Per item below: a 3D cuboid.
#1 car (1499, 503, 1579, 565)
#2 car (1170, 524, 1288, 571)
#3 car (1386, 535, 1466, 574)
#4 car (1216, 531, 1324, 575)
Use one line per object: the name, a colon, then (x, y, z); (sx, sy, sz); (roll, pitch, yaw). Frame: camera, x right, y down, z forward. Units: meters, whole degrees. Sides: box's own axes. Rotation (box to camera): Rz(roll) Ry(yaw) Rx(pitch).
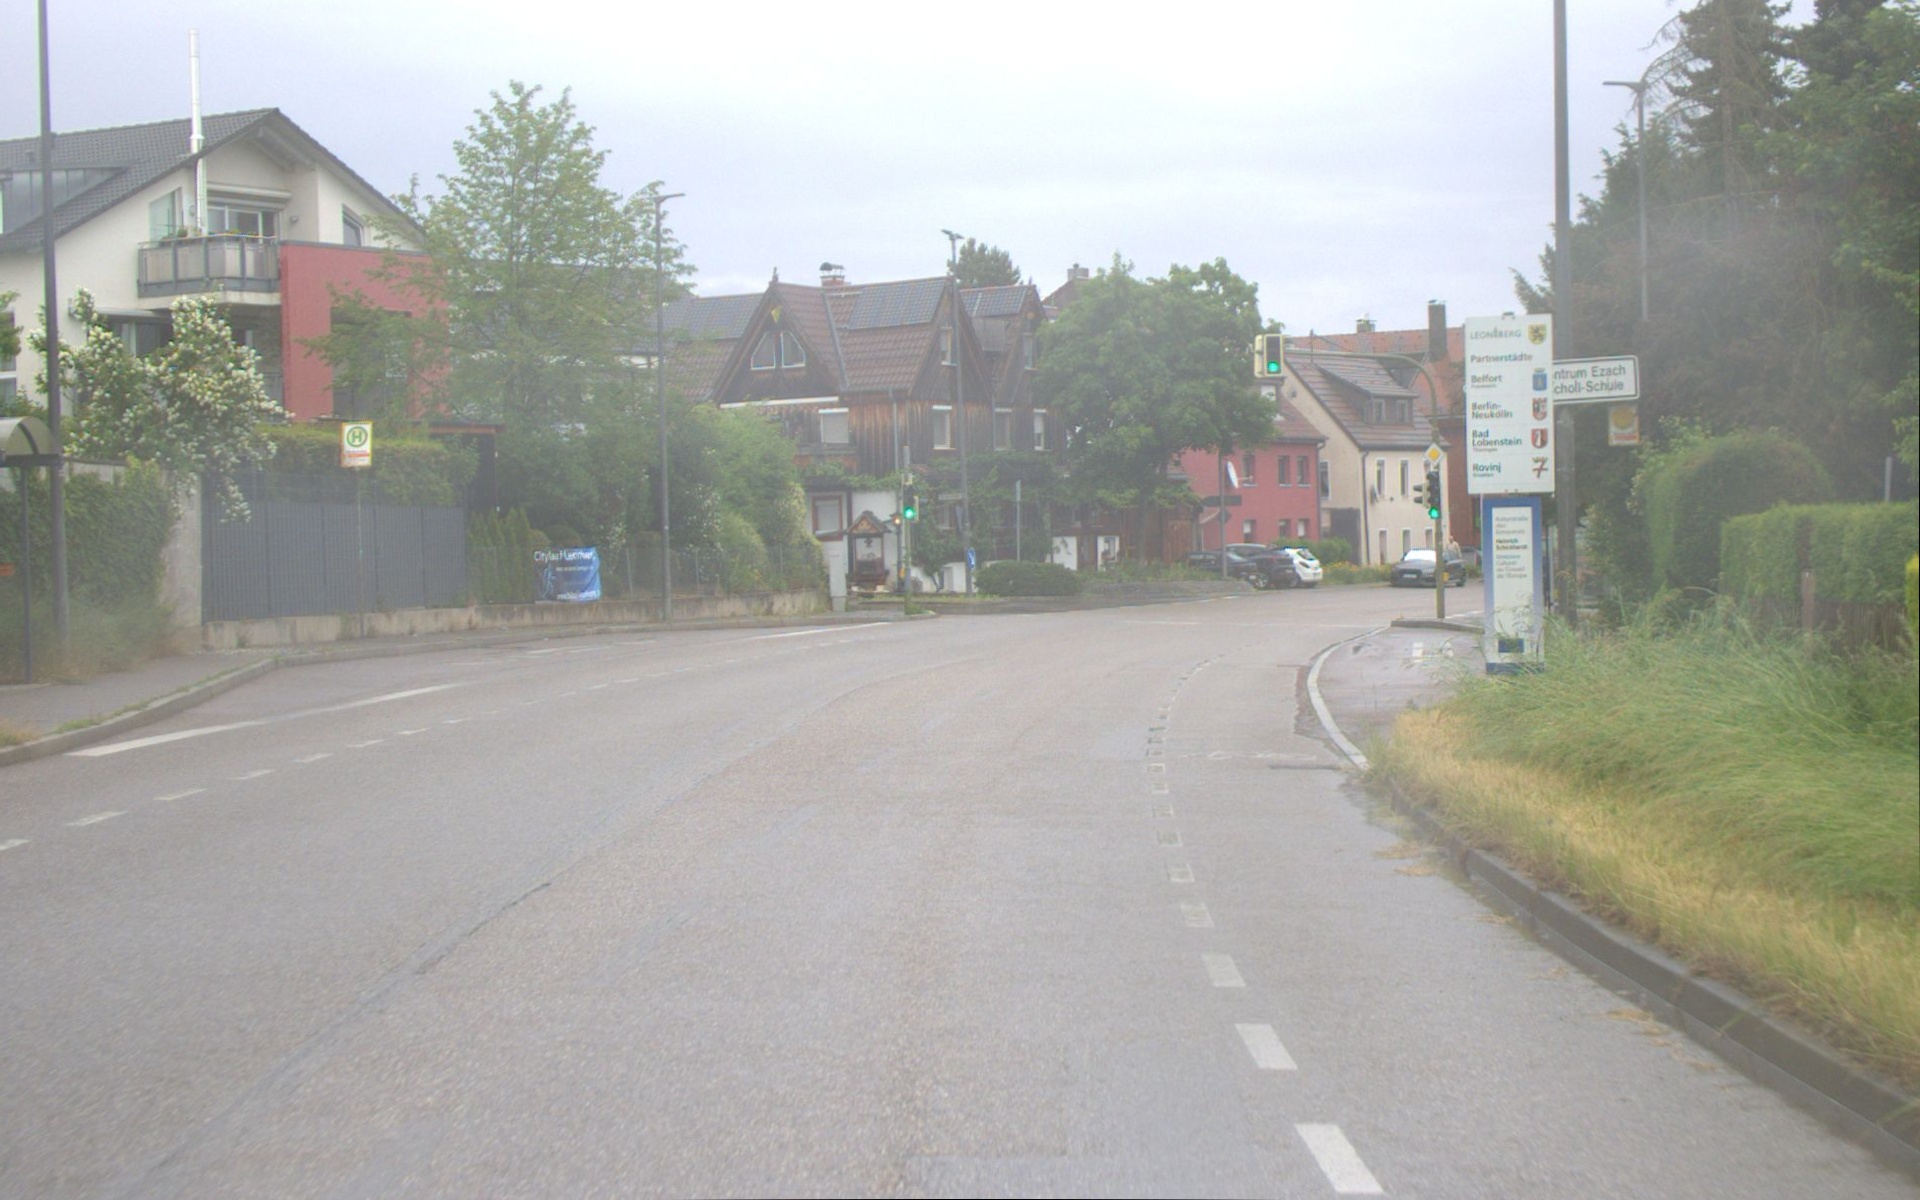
car: (18.386, -2.093, 109.010); (1.932, 1.896, 4.790); (1, 1, 17)
car: (9.256, -1.820, 118.291); (3.582, 1.501, 1.852); (2, 2, 32)
car: (16.920, -1.680, 124.788); (1.629, 1.351, 4.105); (1, 2, 26)
car: (10.996, -1.666, 122.020); (3.467, 1.474, 1.588); (-1, 1, 30)
